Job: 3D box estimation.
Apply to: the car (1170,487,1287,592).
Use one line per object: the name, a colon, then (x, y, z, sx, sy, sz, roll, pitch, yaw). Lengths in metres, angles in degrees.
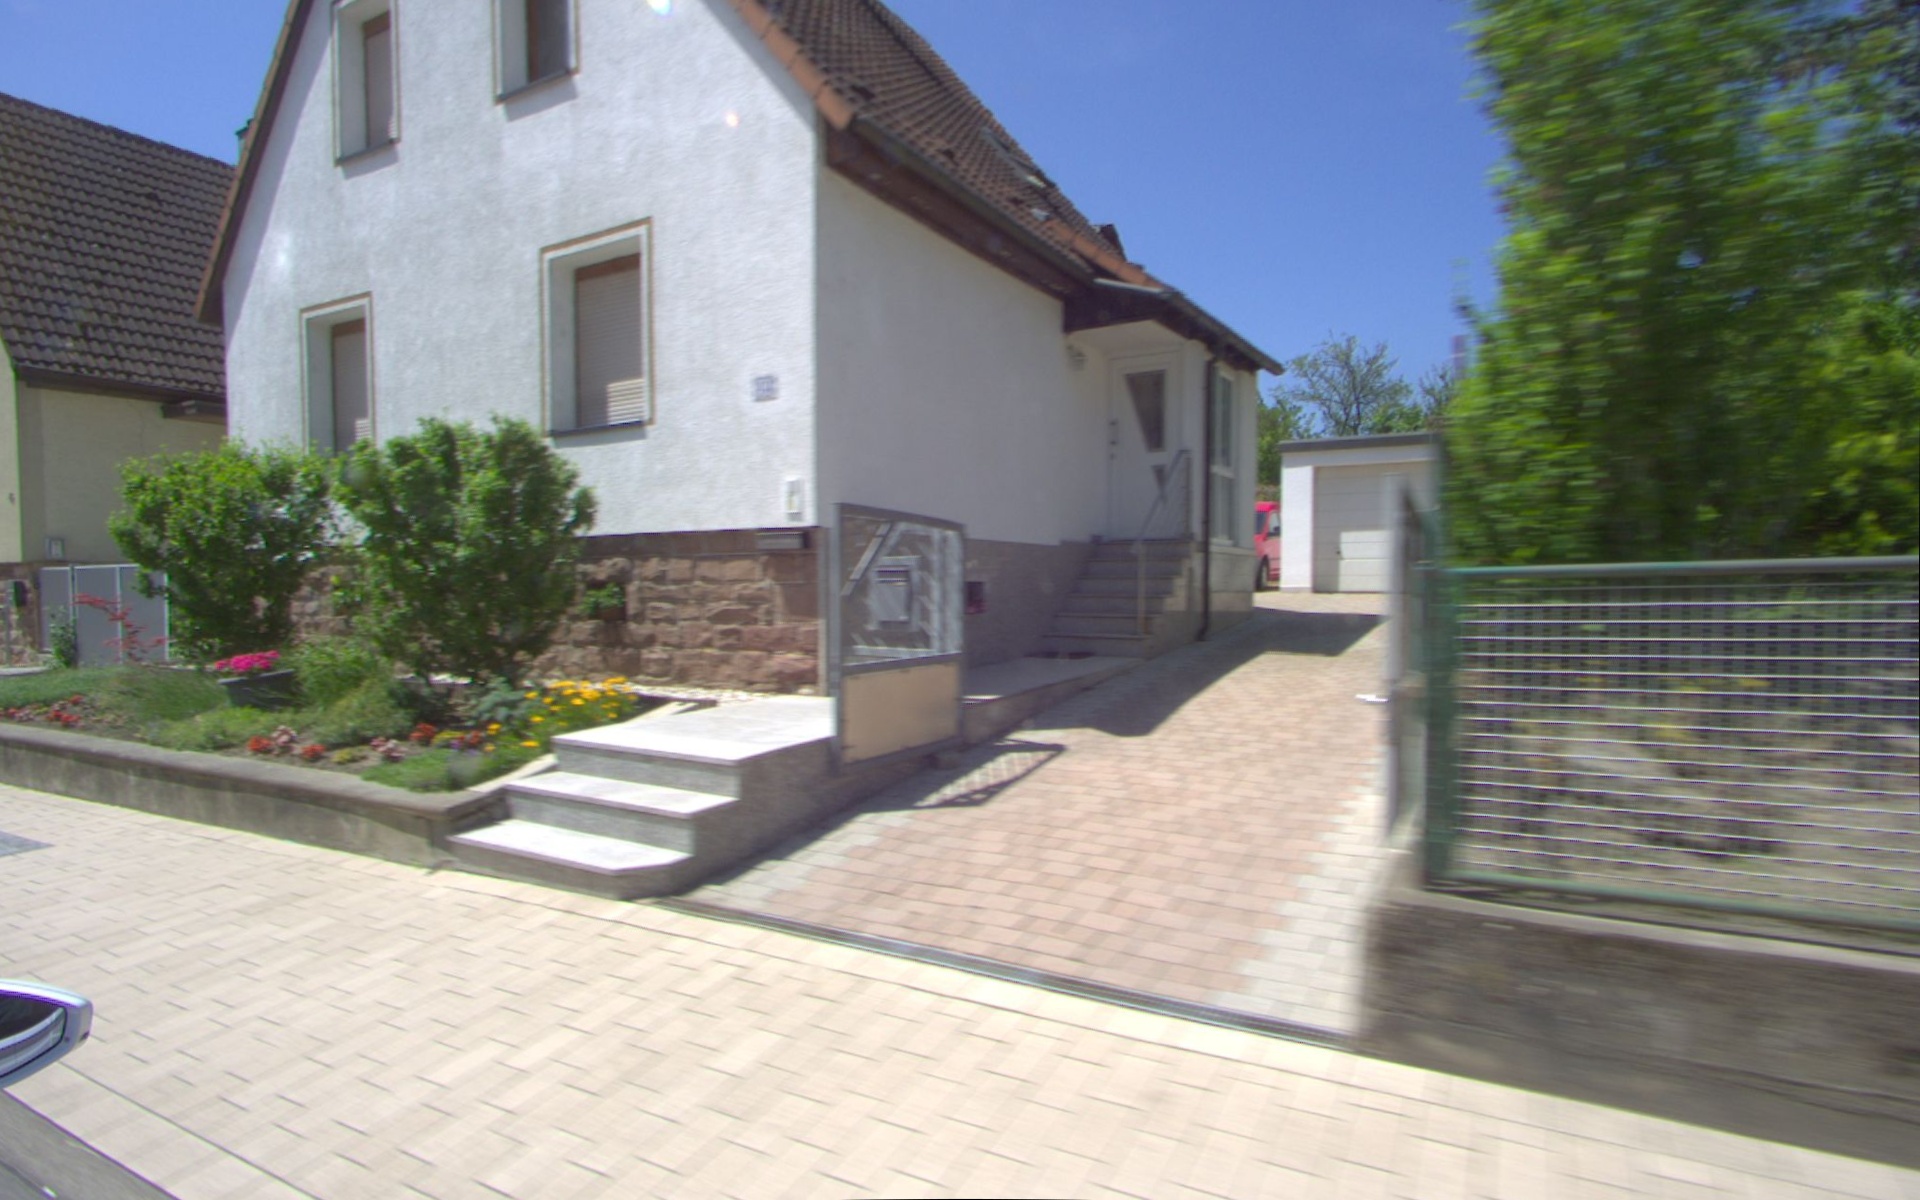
car: (5.796, -1.116, 21.120, 1.940, 1.830, 5.542, 0, 0, 20)

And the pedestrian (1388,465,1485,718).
pedestrian: (3.275, -0.068, 6.864, 0.544, 1.639, 0.602, 0, 6, 31)
